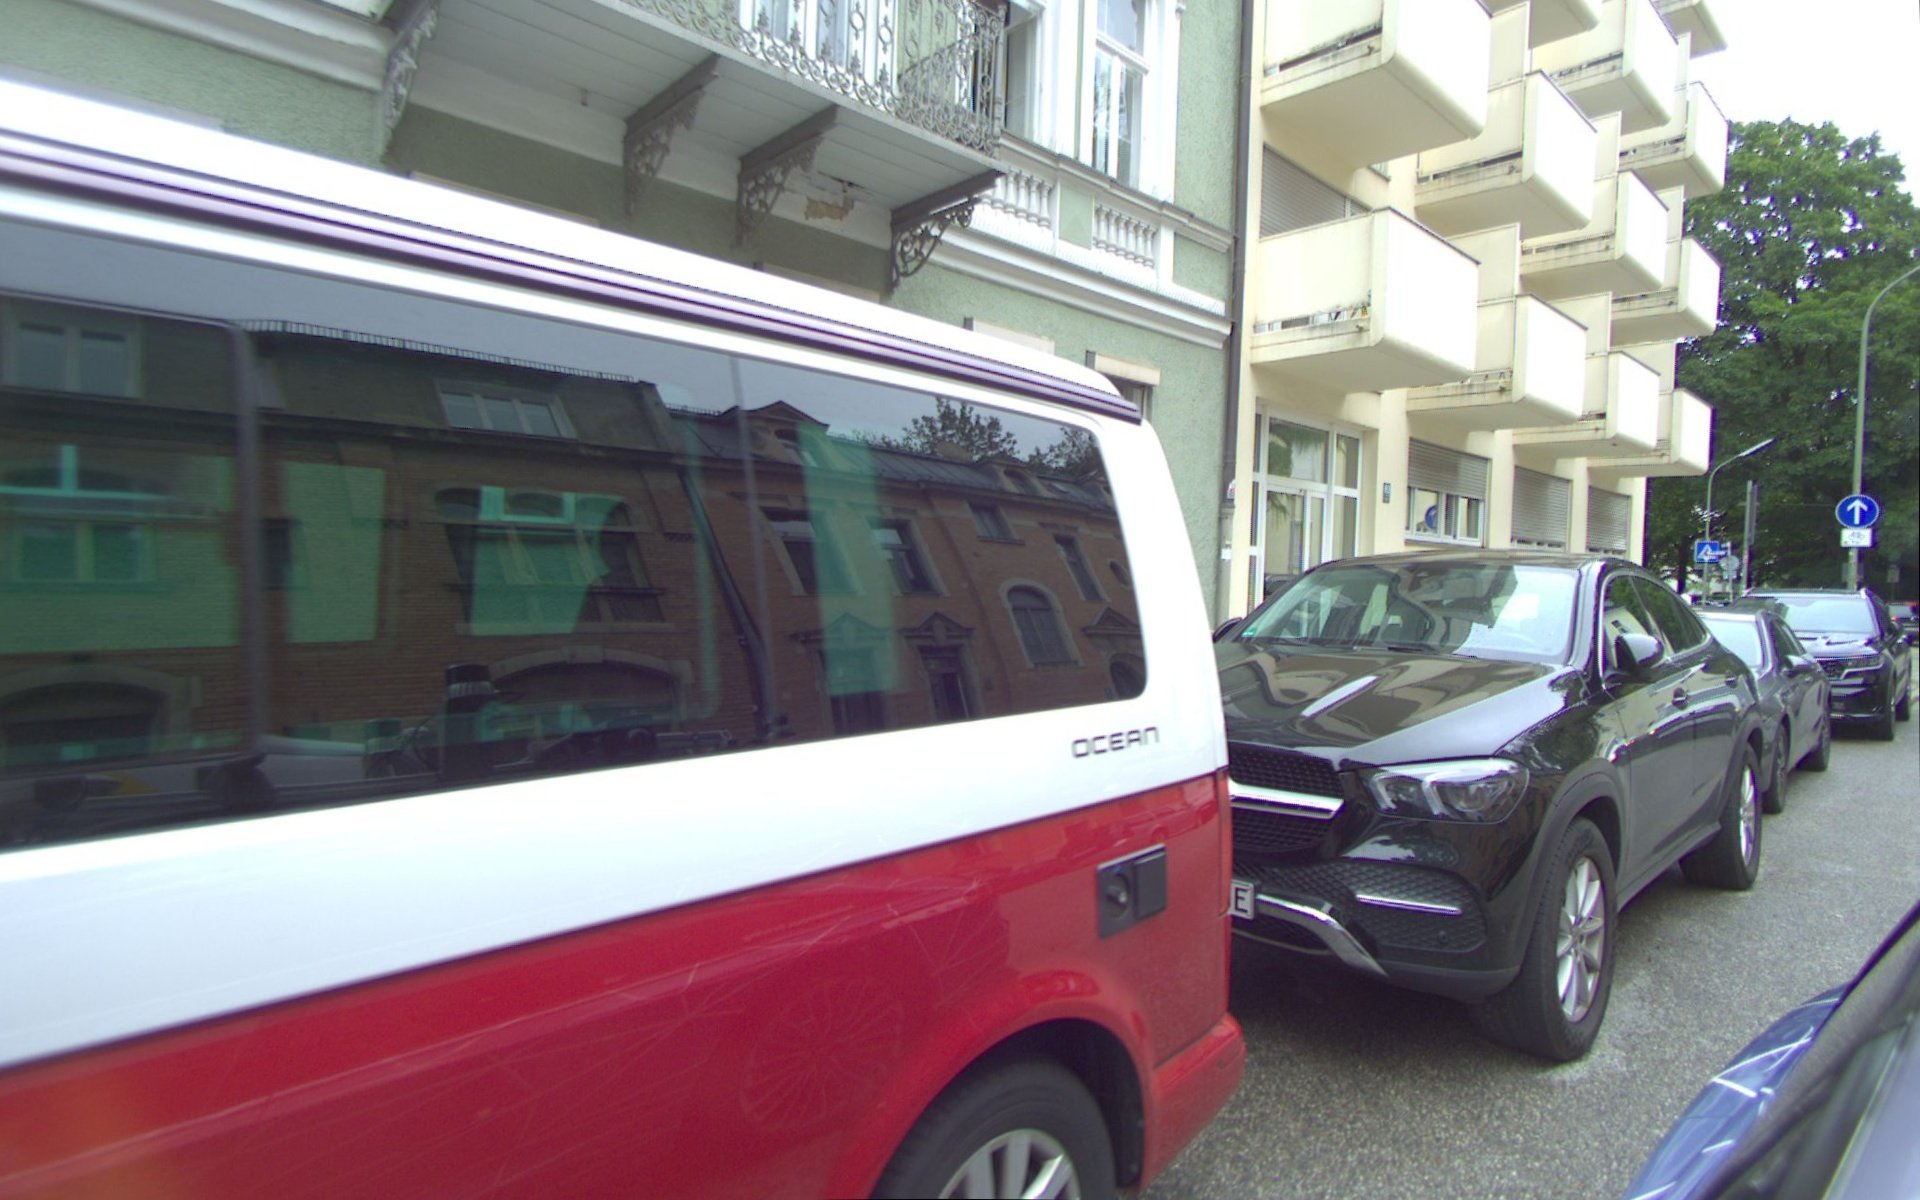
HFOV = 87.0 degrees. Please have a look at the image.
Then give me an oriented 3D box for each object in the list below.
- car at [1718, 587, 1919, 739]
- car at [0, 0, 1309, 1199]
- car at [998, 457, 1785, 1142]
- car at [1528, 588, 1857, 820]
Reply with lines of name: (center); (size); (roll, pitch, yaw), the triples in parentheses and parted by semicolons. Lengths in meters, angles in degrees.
car: (10.726, 0.654, 12.491); (3.911, 1.591, 1.549); (0, 0, -43)
car: (-1.449, 0.392, 1.460); (4.515, 1.920, 1.855); (0, 0, -44)
car: (2.404, 0.530, 4.847); (4.476, 1.780, 1.829); (1, 0, -43)
car: (6.309, 0.680, 8.546); (3.911, 1.515, 1.549); (0, 0, -43)
